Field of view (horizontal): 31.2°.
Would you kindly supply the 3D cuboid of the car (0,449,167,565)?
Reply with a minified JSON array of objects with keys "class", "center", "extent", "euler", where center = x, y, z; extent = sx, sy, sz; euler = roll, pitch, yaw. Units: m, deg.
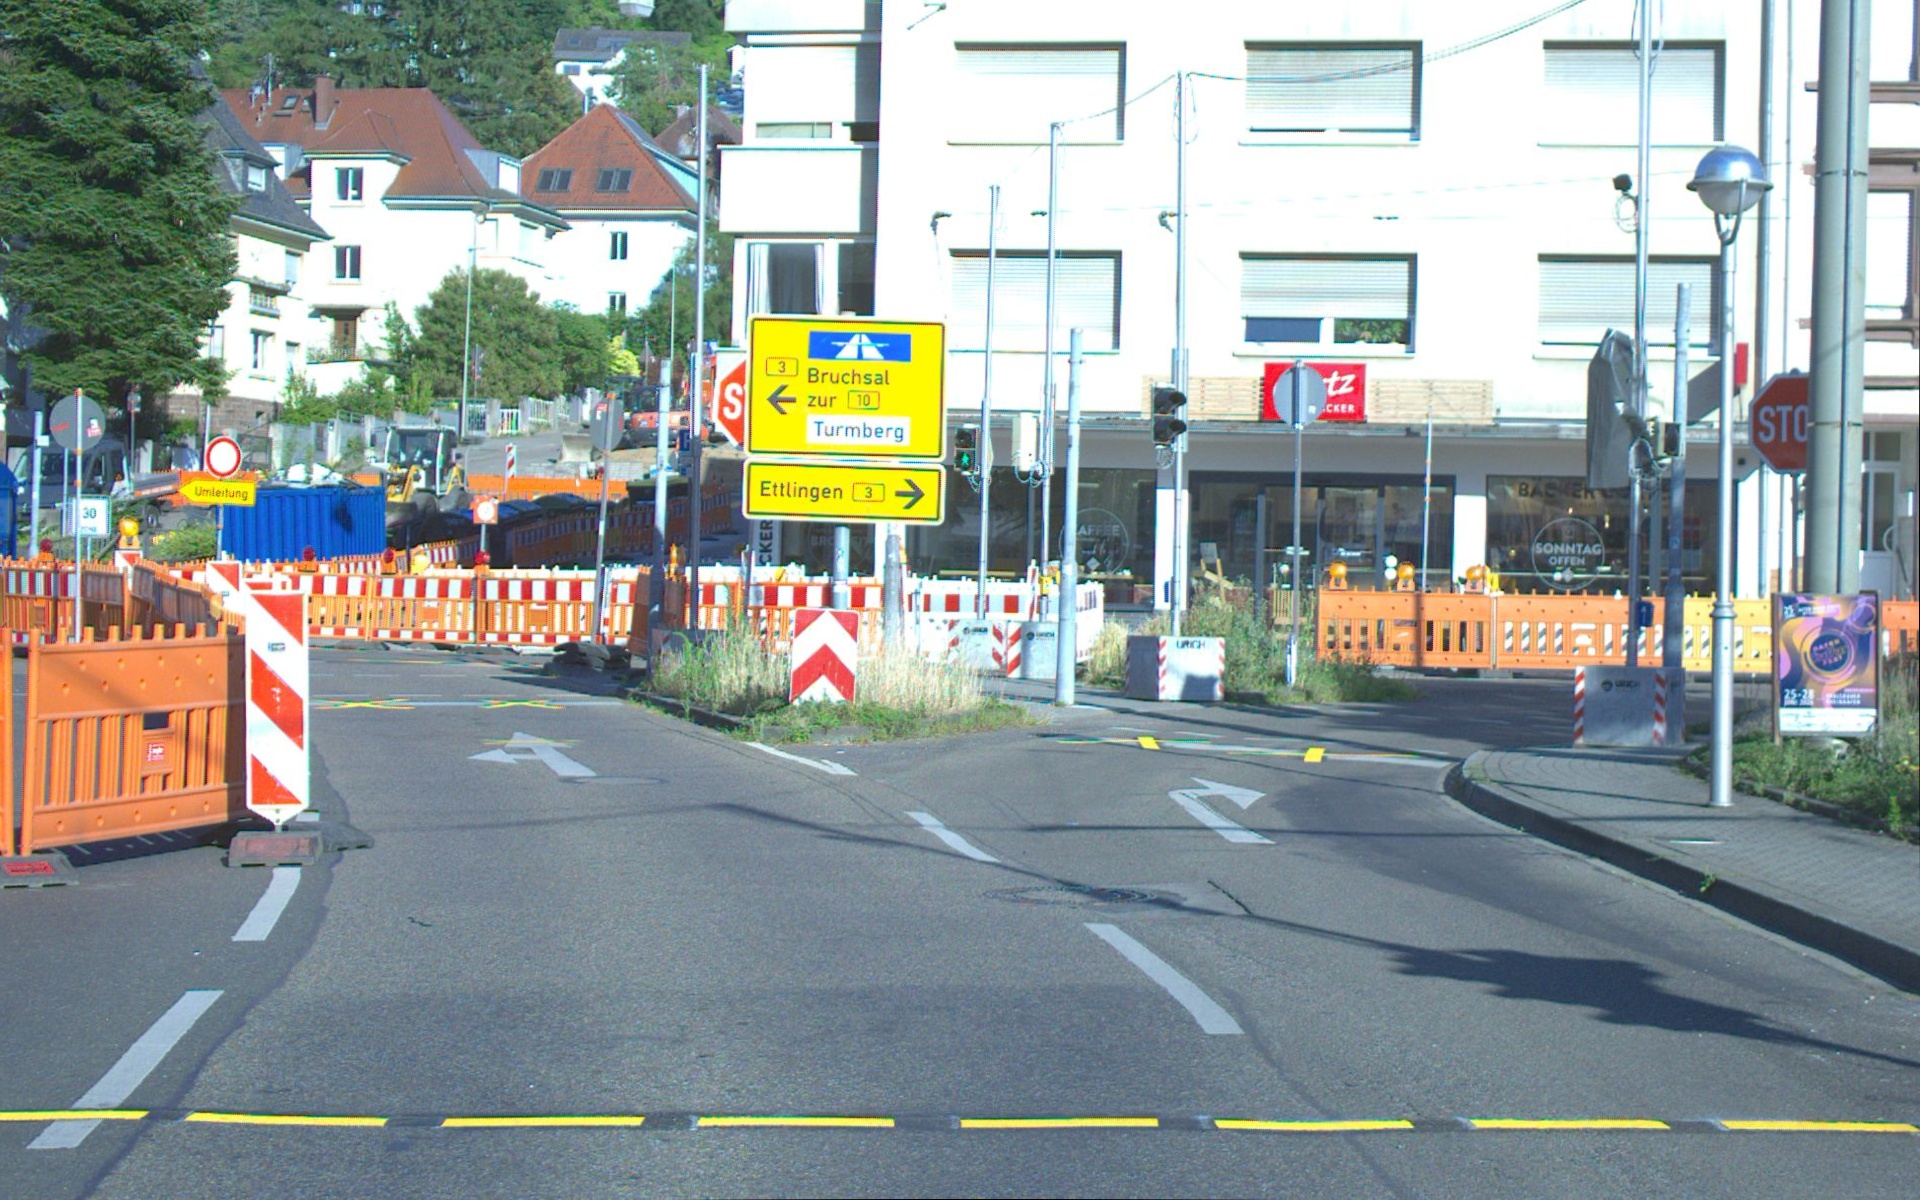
[{"class":"car","center":[-18.005,-1.750,66.145],"extent":[2.585,2.113,6.145],"euler":[1,1,18]}]

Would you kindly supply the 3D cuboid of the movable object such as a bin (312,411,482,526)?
[{"class":"movable object such as a bin","center":[-12.884,-2.986,78.956],"extent":[1.950,2.486,4.547],"euler":[1,1,18]}]

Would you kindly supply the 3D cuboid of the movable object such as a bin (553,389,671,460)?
[{"class":"movable object such as a bin","center":[-11.584,-5.837,114.850],"extent":[2.566,2.114,5.782],"euler":[1,1,8]}]
